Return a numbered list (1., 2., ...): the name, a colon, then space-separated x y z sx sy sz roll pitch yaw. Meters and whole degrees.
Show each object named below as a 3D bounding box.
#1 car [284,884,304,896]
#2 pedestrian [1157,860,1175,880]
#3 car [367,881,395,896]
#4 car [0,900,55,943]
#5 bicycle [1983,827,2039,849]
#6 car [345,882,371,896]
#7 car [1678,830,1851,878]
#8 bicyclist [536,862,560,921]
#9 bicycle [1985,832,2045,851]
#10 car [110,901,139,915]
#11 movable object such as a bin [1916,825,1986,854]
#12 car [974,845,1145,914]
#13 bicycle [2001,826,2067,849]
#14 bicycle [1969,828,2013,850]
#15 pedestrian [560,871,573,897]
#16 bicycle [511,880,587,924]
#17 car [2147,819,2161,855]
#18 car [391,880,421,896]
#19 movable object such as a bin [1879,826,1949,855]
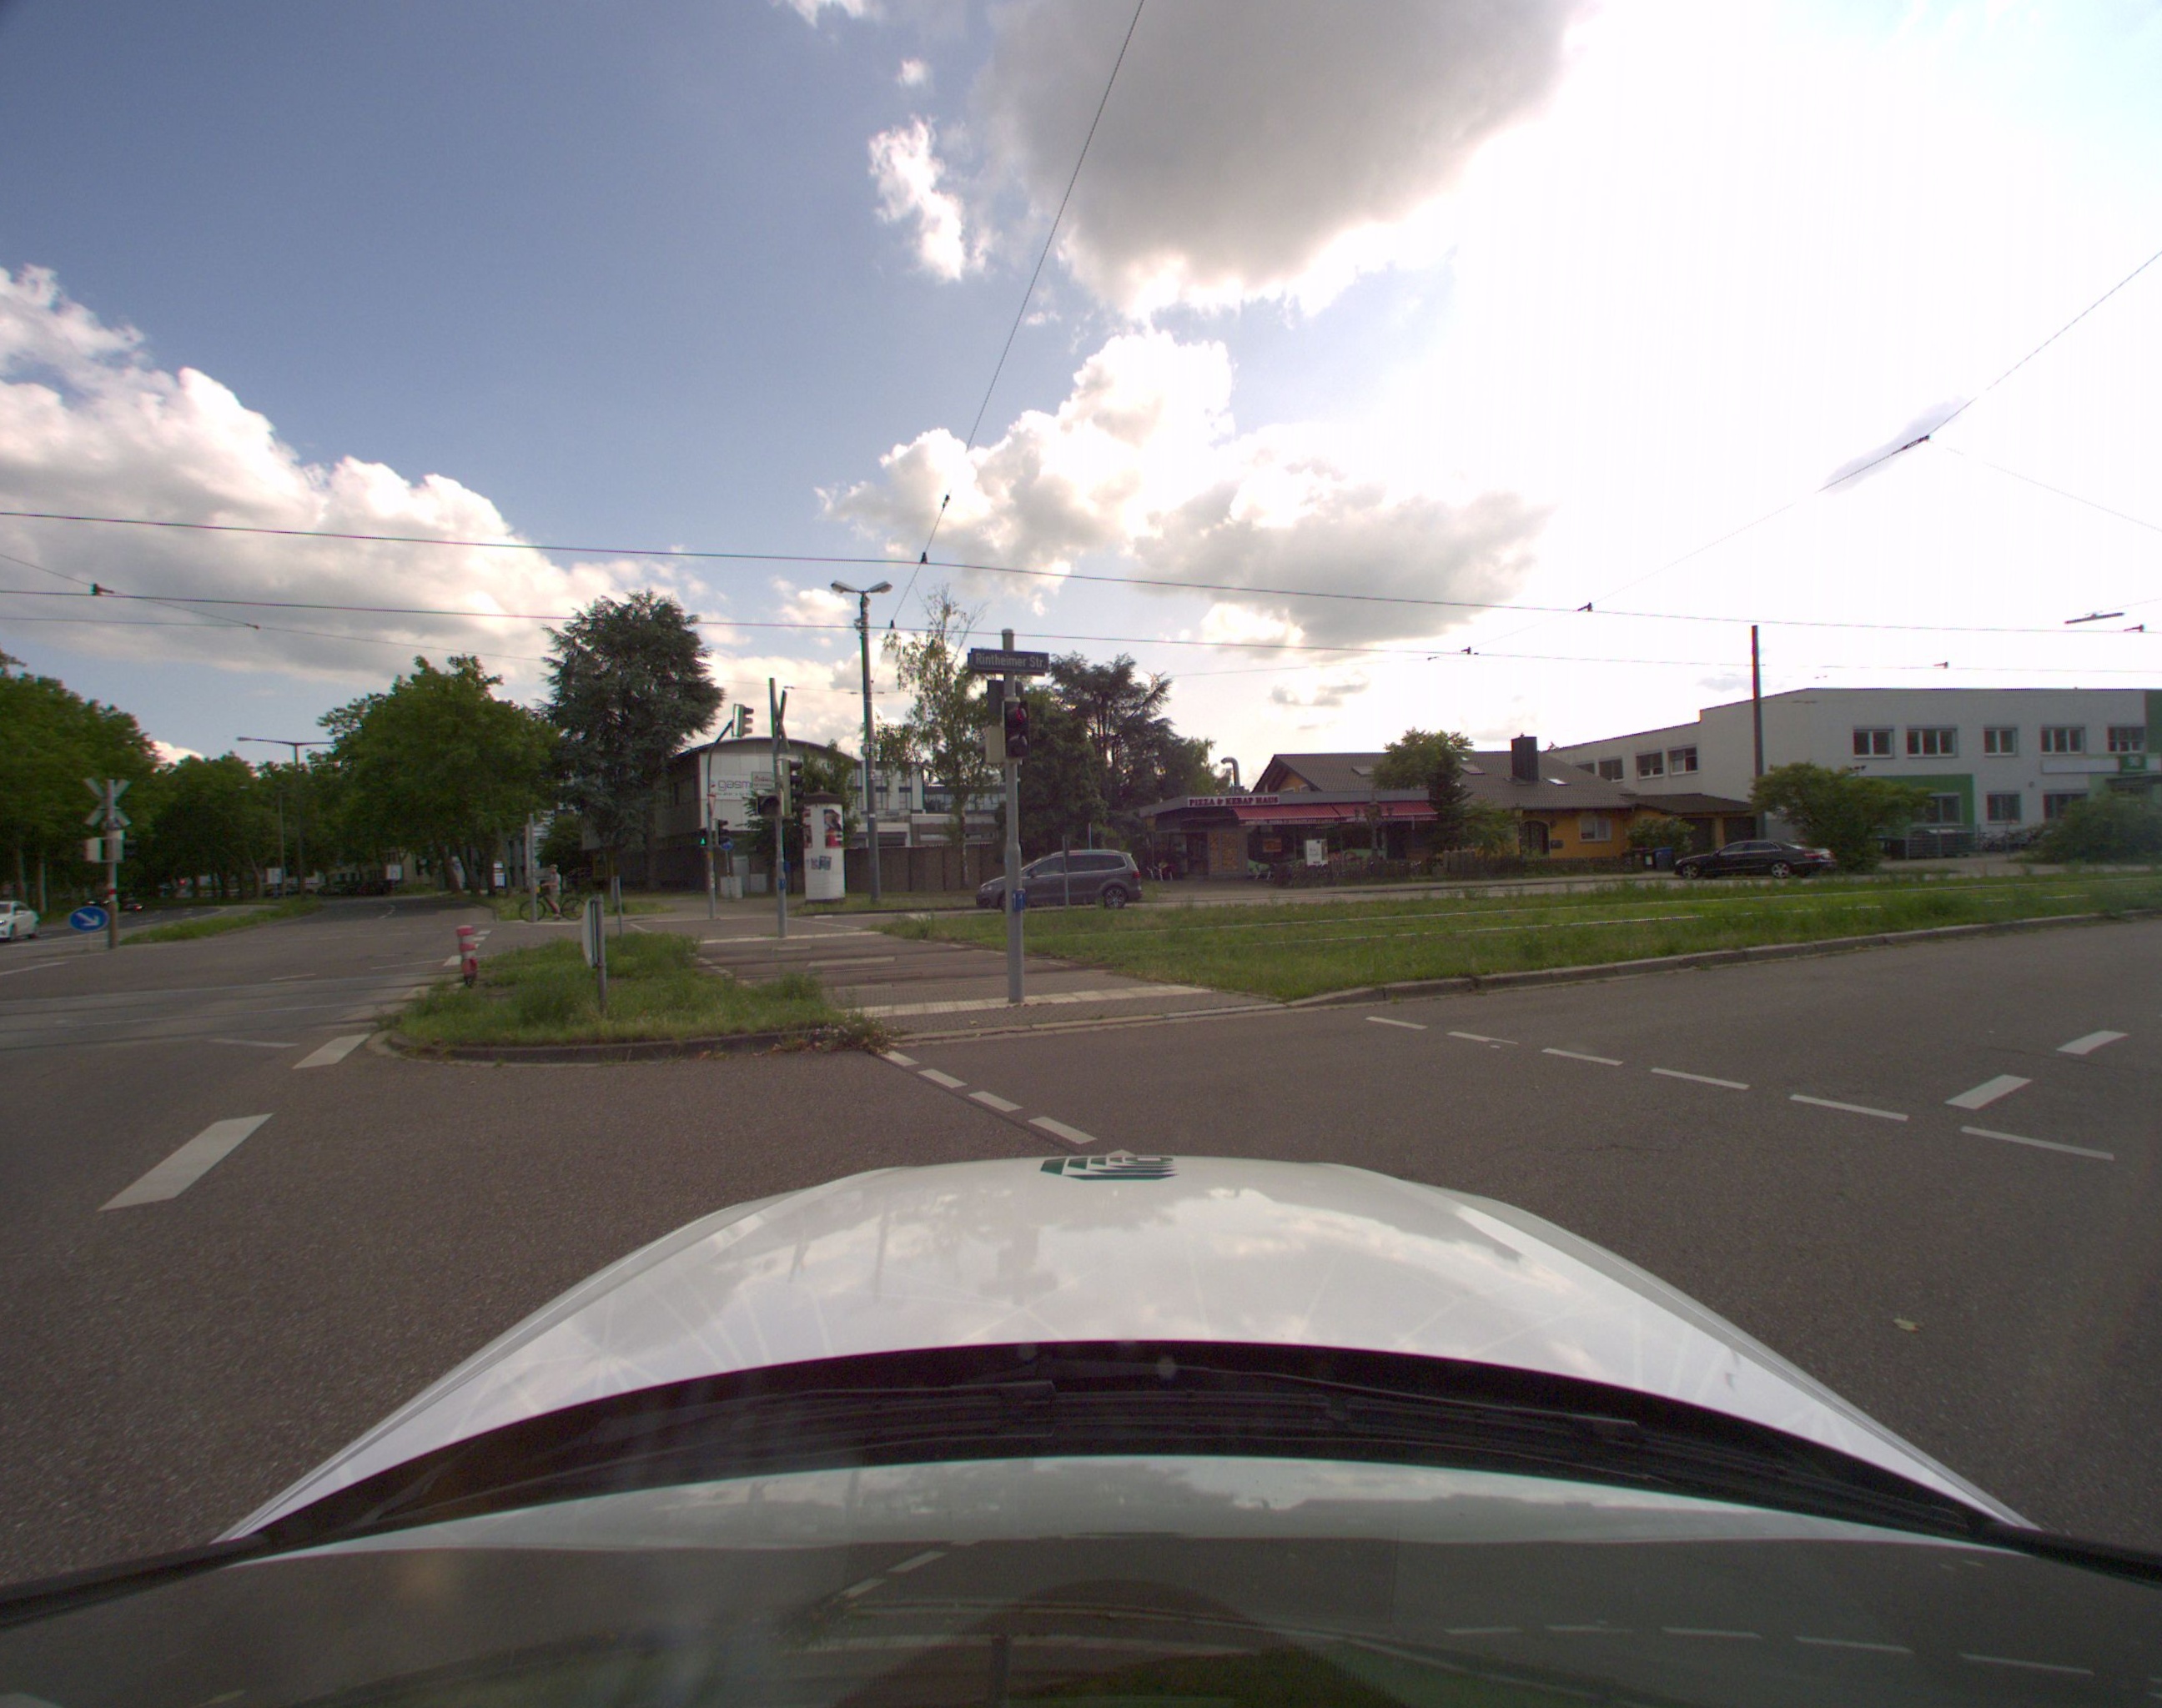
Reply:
1. car: -123.946 5.631 128.253 3.949 1.573 2.013 0 2 42
2. pedestrian: 4.116 0.752 39.351 0.723 0.929 0.776 -1 1 -4
3. car: -85.561 4.211 99.514 3.949 1.573 2.013 0 2 42
4. car: -38.125 2.369 28.495 1.840 1.364 4.090 -2 0 -38
5. bicycle: 48.958 -0.849 42.875 0.734 1.081 1.790 -2 0 -11
6. car: -92.474 4.442 104.208 3.949 1.573 2.013 0 2 42
7. car: 25.510 0.033 30.588 2.006 1.580 4.536 -2 -1 -29
8. bicyclist: -16.917 1.188 25.857 0.546 1.809 0.536 -2 1 -27
9. bicycle: 51.213 -0.677 44.678 0.727 0.970 2.155 -2 0 -5
10. car: -92.857 5.192 79.038 3.660 1.191 1.650 -2 0 38
11. movable object such as a bin: 43.388 -0.715 40.645 2.122 1.326 1.374 -2 0 -6
12. car: -0.698 0.713 23.628 4.723 1.722 1.994 -2 0 -9
13. bicycle: 52.136 -0.891 44.605 0.756 1.166 2.349 -2 0 -3
14. bicycle: 49.690 -0.812 44.487 0.699 1.166 1.624 -2 0 7
15. pedestrian: -32.822 1.917 51.971 0.625 1.569 0.553 -2 2 -37
16. bicycle: -16.874 1.506 25.886 1.957 1.235 0.536 -2 1 -28
17. car: 51.019 -0.829 36.148 1.912 1.629 4.263 -2 0 -42
18. car: -76.420 3.806 92.128 3.949 1.573 2.013 0 2 42
19. movable object such as a bin: 41.229 -0.656 40.337 2.107 1.326 1.374 -2 0 -6
